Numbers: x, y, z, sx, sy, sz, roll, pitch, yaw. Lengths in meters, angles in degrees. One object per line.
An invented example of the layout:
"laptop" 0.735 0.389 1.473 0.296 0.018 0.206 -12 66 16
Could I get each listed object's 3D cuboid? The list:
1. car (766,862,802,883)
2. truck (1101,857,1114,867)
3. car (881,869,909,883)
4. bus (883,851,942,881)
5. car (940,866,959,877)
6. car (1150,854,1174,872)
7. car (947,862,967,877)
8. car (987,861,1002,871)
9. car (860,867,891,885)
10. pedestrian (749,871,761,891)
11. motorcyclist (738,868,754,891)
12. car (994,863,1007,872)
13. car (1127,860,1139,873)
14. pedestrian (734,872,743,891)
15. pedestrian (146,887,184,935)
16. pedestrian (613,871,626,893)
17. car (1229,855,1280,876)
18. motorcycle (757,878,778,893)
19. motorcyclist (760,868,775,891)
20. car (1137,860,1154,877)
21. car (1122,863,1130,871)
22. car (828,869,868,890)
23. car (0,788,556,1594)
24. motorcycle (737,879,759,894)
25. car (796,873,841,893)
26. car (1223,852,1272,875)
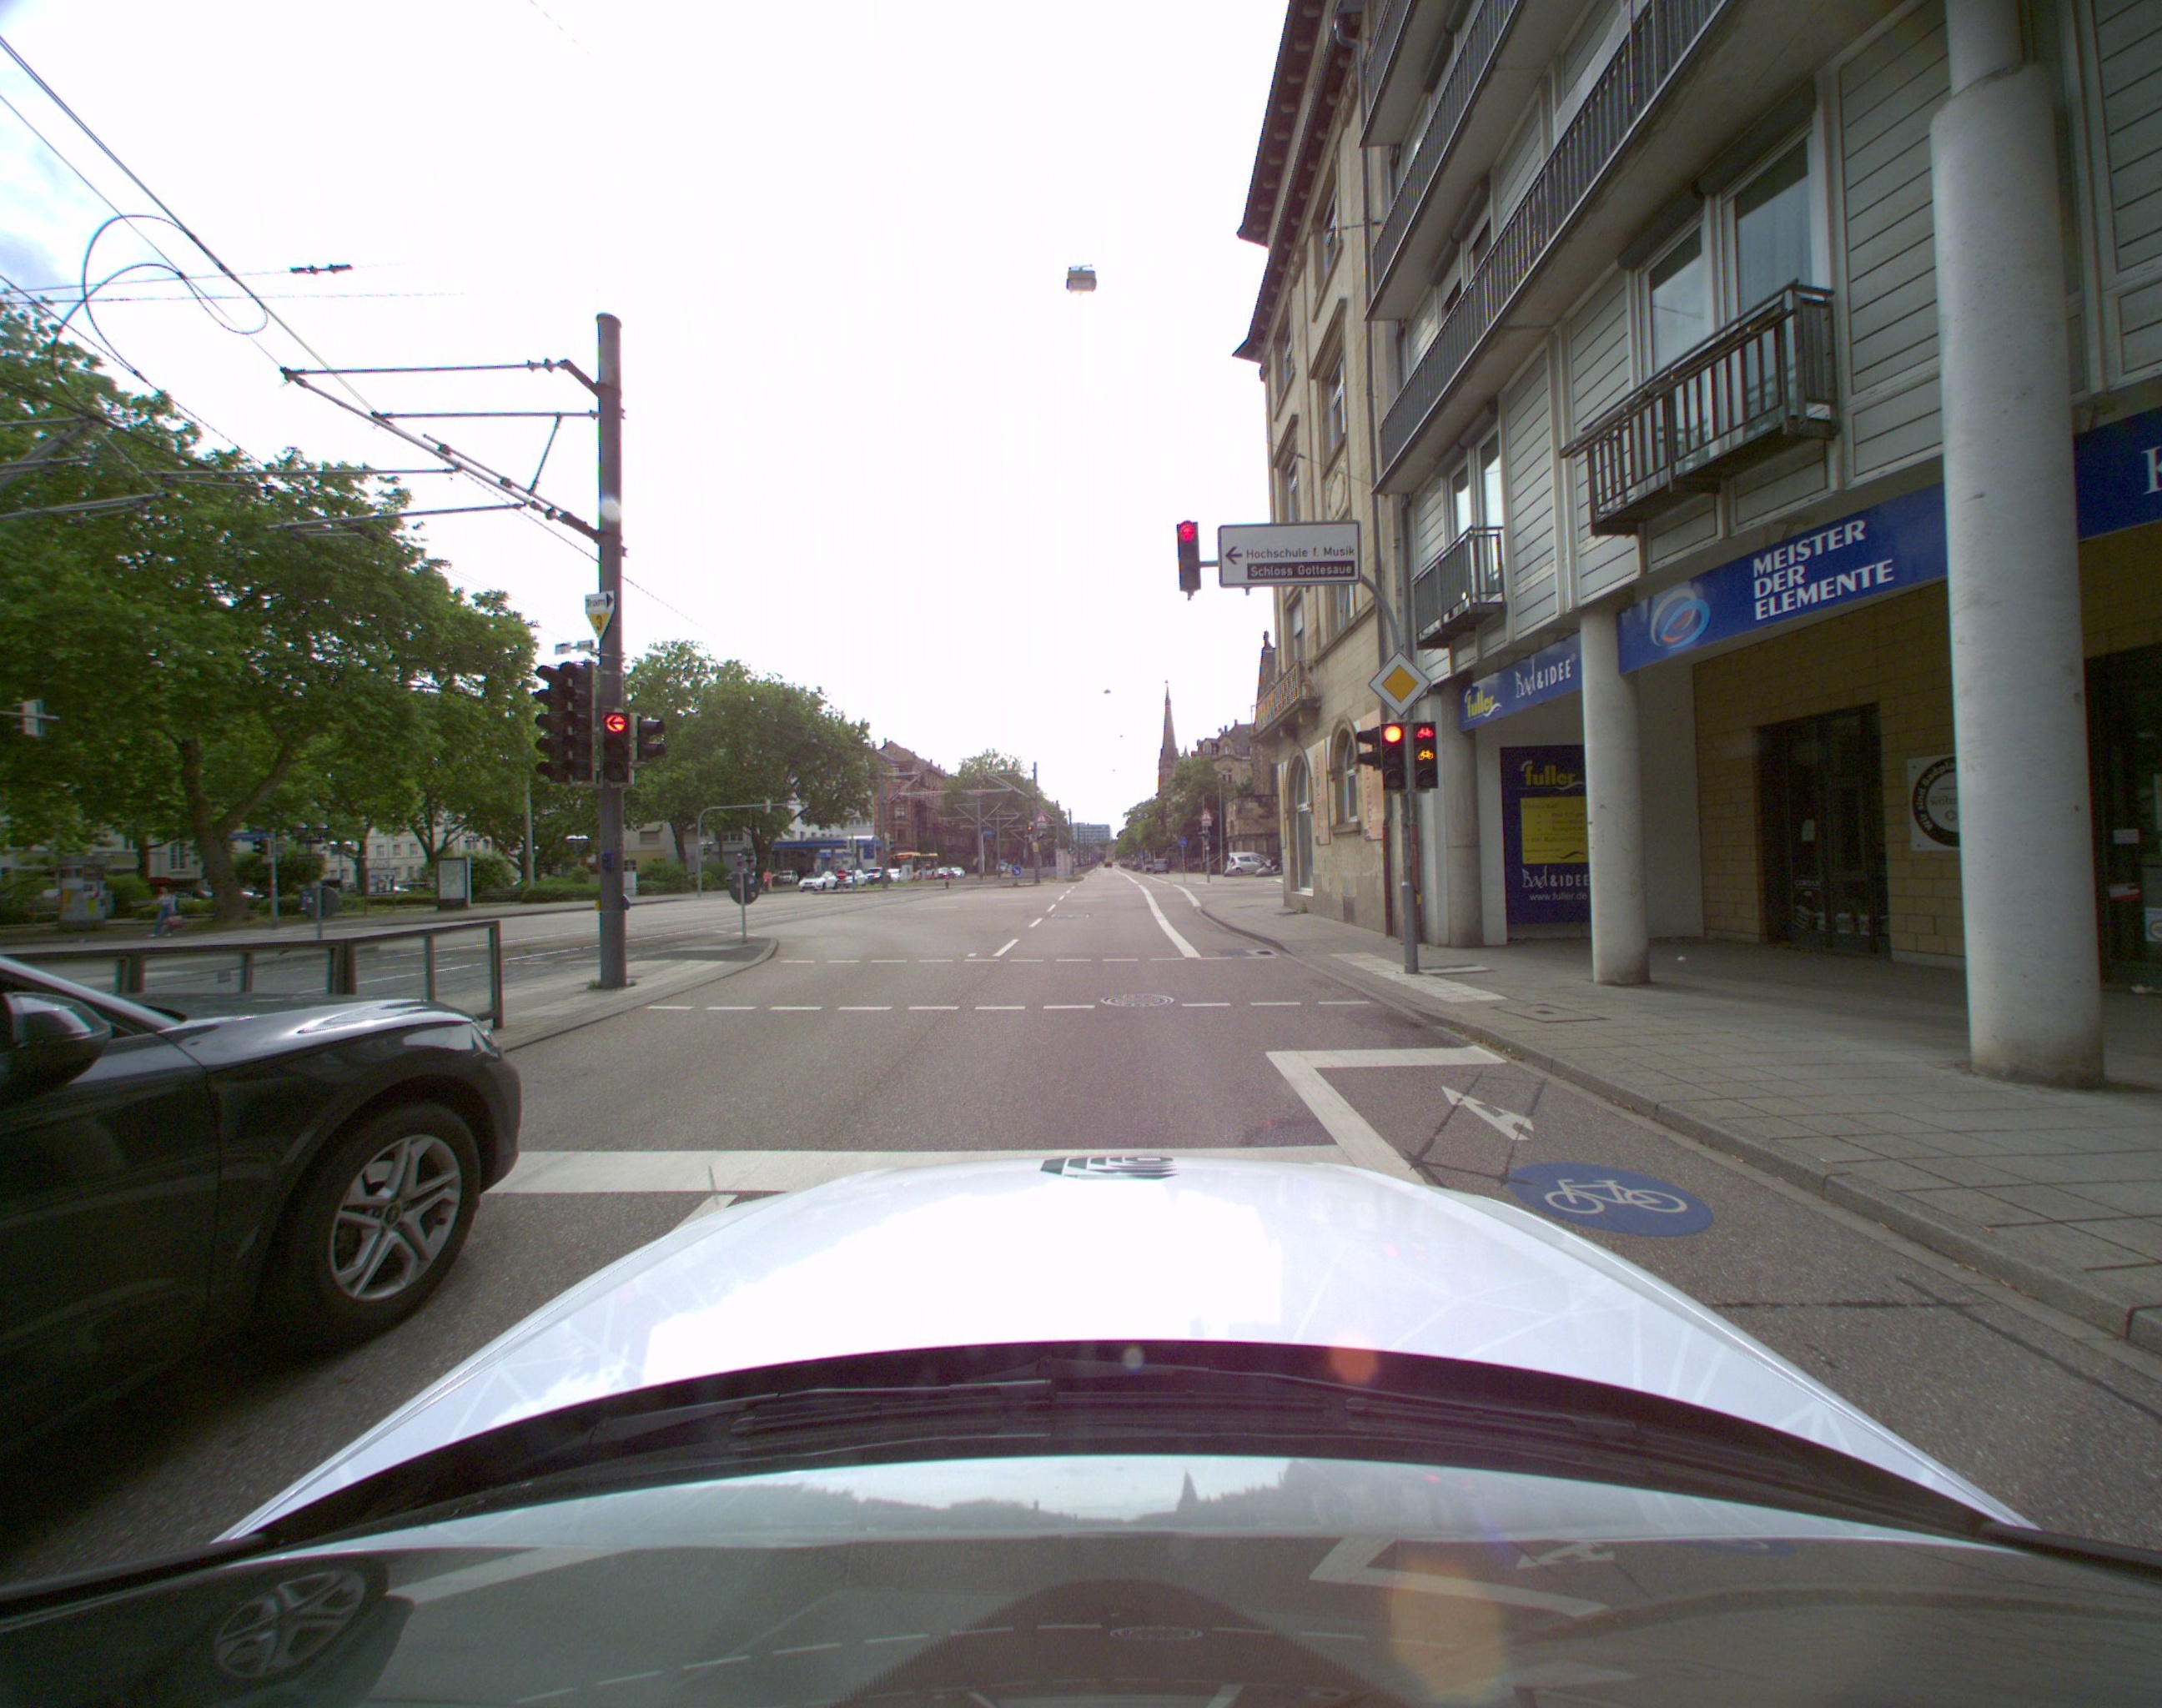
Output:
"car" -29.762 1.812 81.786 1.986 2.014 4.001 -2 0 2
"truck" 7.740 2.222 237.436 3.040 2.769 9.830 -2 0 5
"car" -18.163 2.106 79.633 1.649 1.321 3.641 0 -1 3
"bus" -18.303 1.305 89.711 3.217 3.035 12.323 0 0 4
"car" -16.576 2.198 102.775 1.649 1.321 3.641 0 -1 3
"car" 8.970 0.997 89.944 1.979 1.855 4.042 -1 -1 14
"car" -16.753 2.069 110.182 1.986 2.014 4.001 0 -1 2
"car" -15.055 2.073 142.084 1.986 1.610 4.001 0 -1 2
"car" -18.334 1.934 72.712 1.649 1.478 3.641 0 -1 3
"pedestrian" -25.390 2.098 63.376 0.645 1.479 0.557 -2 -1 1
"motorcyclist" -22.660 1.734 55.092 0.617 1.520 0.874 -1 -1 2
"car" -14.795 2.455 149.893 1.986 1.610 4.001 0 -1 2
"car" 8.693 2.067 136.173 1.986 2.014 4.001 0 -1 2
"pedestrian" -26.486 2.097 62.896 0.474 1.459 0.426 -2 -1 1
"pedestrian" -30.443 1.881 27.079 0.659 1.510 0.676 -1 -1 -31
"pedestrian" -35.753 2.187 63.077 0.596 1.700 0.615 -2 -1 30
"car" 13.742 0.914 64.718 3.699 1.563 2.001 0 -1 2
"motorcycle" -21.498 2.134 55.841 0.604 0.928 1.953 -2 -1 2
"motorcyclist" -21.513 1.745 55.919 0.617 1.520 0.874 -1 -1 2
"car" 7.888 1.708 99.615 1.985 2.014 4.004 0 -1 4
"car" 11.912 3.390 216.779 1.986 2.014 4.001 0 -1 2
"car" -18.849 2.060 66.069 1.986 1.594 4.001 0 -1 2
"car" -3.076 0.686 1.222 1.727 1.637 4.228 0 -1 2
"motorcycle" -22.614 2.181 55.358 0.604 0.928 1.953 -2 -1 2
"car" -19.169 2.080 59.549 1.739 1.321 4.079 0 -1 4
"car" 13.922 0.798 68.230 3.699 1.855 2.001 0 -1 2
